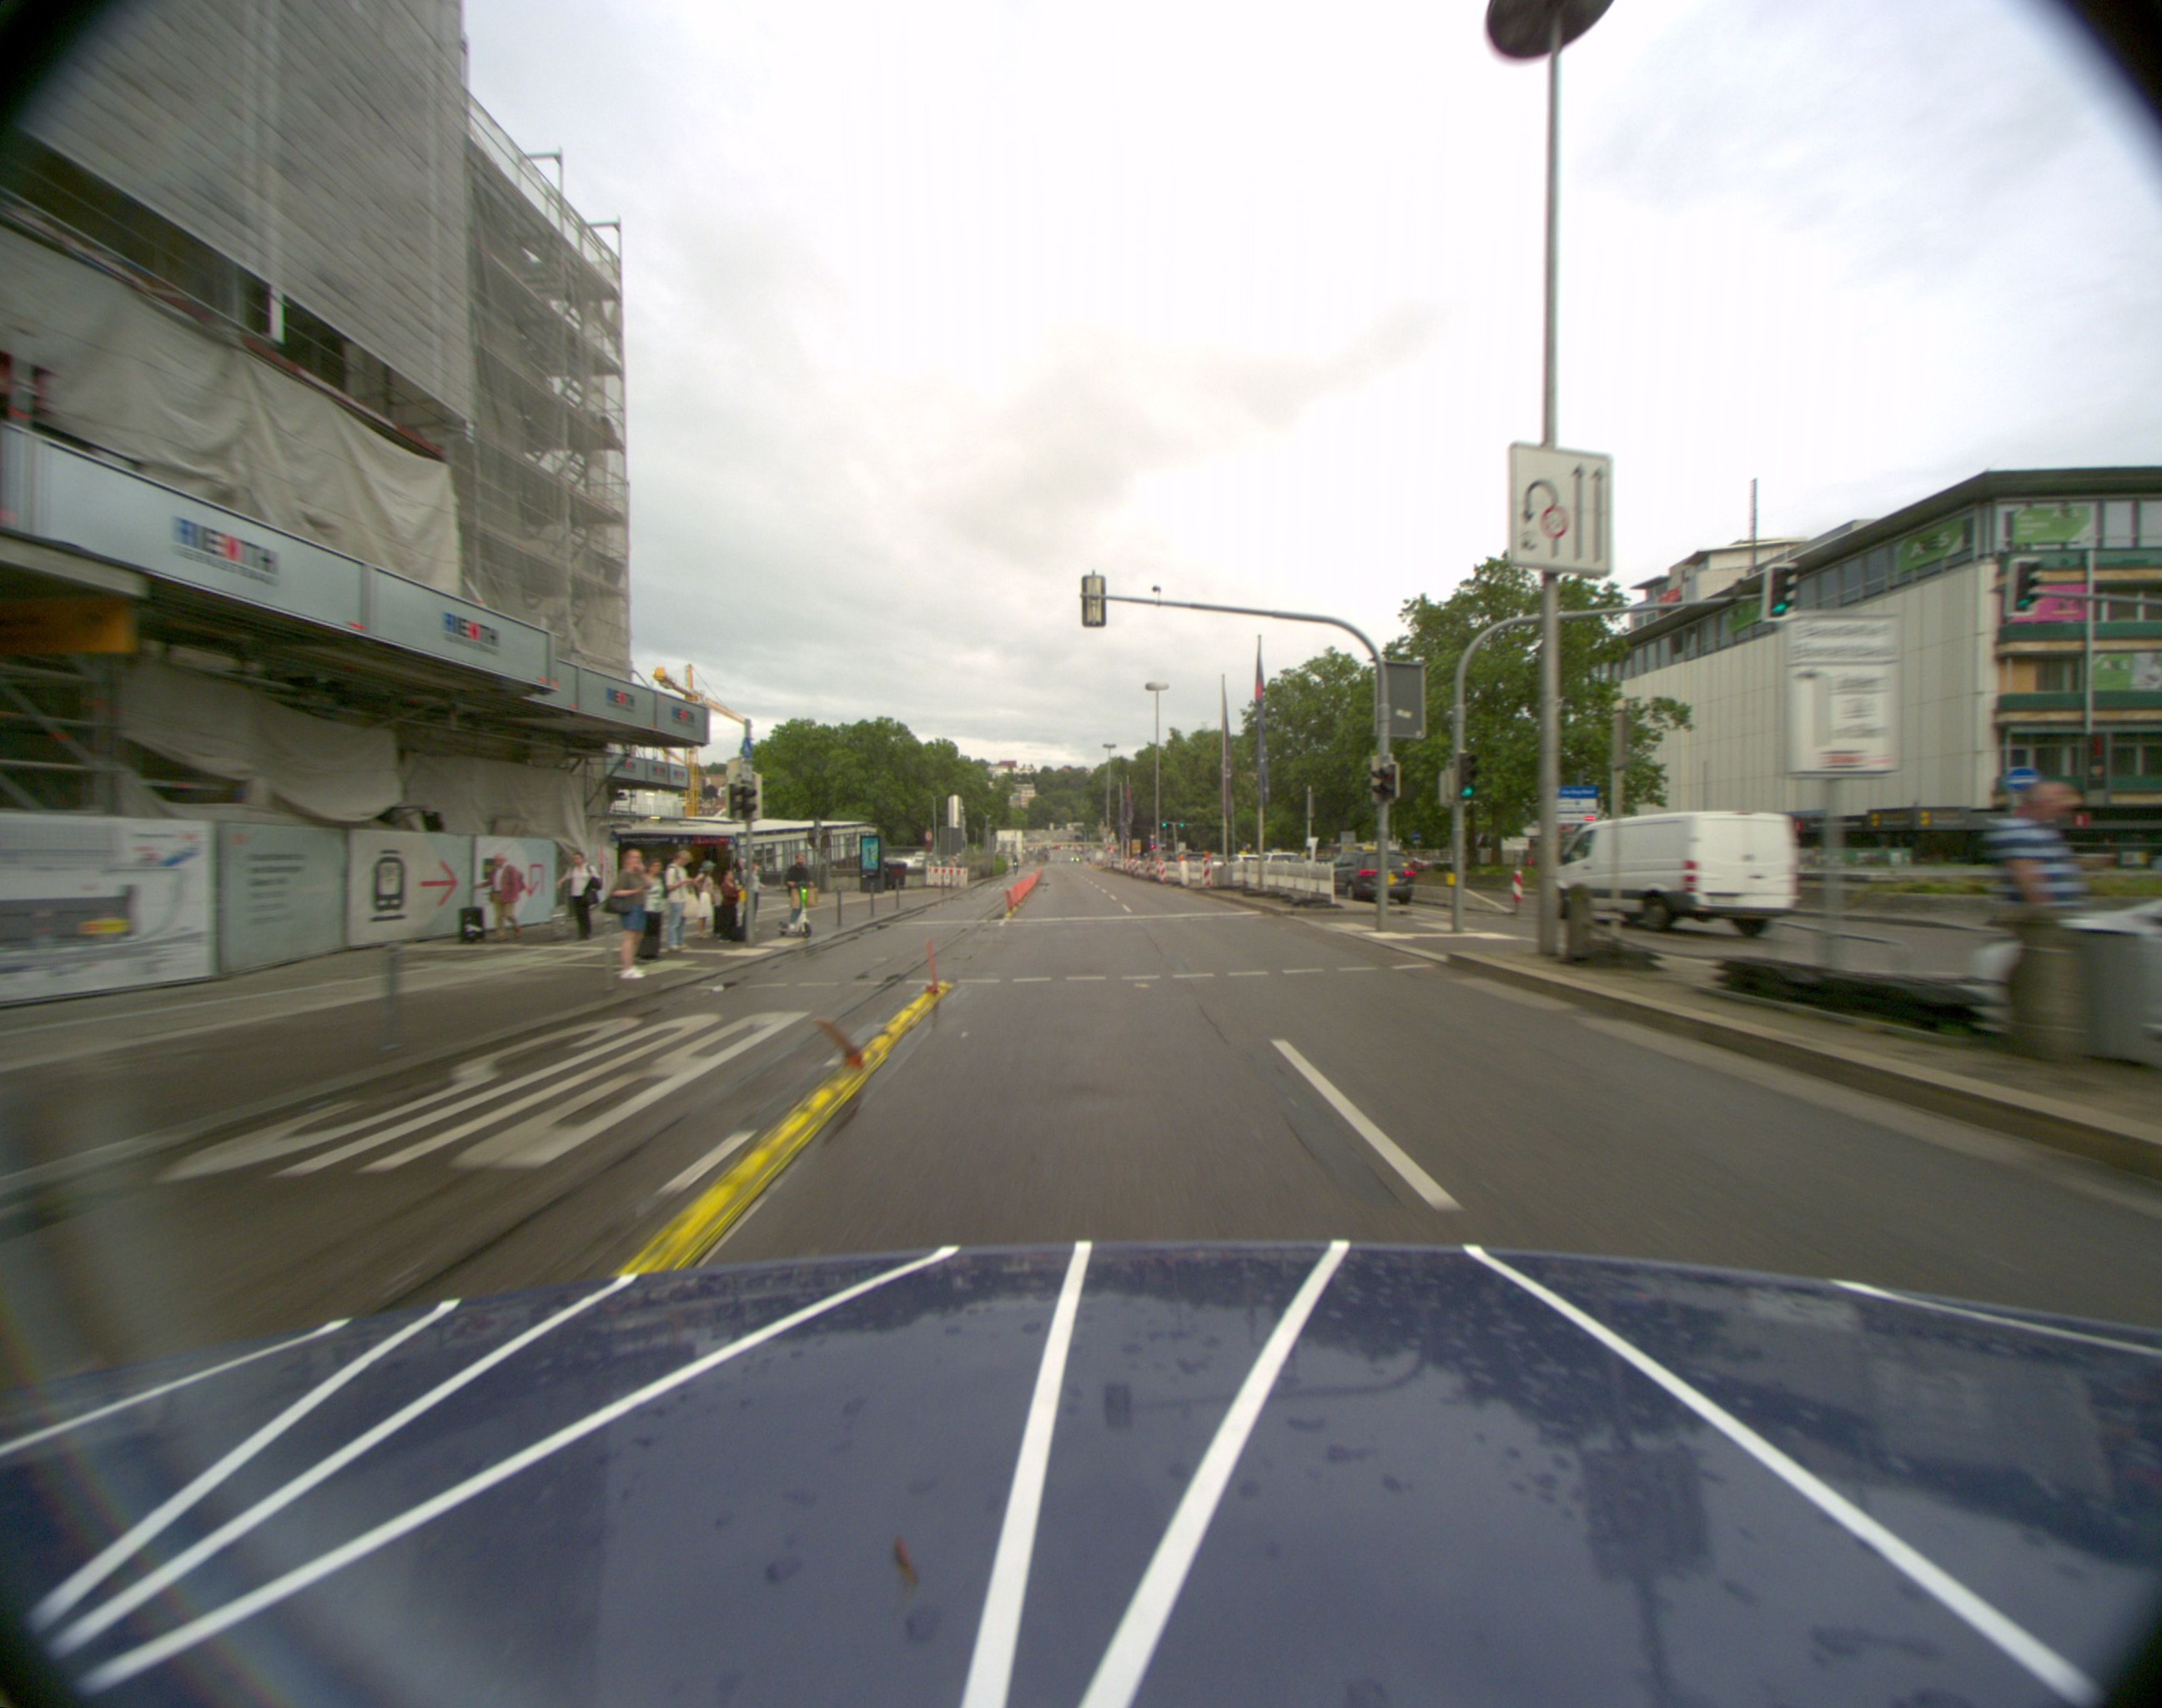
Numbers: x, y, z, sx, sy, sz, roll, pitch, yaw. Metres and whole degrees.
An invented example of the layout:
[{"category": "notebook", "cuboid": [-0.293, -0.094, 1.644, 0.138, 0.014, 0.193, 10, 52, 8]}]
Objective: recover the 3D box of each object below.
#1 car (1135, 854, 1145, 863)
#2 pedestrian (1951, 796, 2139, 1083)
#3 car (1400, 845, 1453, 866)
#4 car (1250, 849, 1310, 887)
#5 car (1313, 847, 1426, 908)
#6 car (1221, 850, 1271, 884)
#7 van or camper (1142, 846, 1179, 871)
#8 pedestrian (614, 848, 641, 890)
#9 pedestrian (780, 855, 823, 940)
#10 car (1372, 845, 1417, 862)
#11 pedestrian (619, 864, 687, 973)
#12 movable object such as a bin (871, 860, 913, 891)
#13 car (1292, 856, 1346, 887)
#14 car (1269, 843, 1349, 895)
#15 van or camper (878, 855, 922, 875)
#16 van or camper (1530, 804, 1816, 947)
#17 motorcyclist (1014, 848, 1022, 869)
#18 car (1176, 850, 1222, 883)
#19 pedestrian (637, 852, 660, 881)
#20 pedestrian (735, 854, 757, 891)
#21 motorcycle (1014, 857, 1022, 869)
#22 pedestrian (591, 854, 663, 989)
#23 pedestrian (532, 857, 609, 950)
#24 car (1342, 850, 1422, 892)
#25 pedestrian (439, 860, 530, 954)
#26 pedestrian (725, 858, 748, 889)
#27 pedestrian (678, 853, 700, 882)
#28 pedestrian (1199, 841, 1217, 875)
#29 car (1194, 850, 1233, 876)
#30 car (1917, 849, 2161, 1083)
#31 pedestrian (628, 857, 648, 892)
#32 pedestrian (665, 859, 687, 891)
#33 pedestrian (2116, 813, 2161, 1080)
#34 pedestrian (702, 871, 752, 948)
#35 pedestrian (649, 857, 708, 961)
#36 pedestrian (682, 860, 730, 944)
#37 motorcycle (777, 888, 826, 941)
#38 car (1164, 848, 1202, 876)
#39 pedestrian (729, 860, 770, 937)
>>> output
[{"category": "car", "cuboid": [10.441, 0.802, 134.493, 1.682, 1.533, 3.175, 0, -1, 4]}, {"category": "pedestrian", "cuboid": [6.439, 0.527, 5.121, 0.558, 1.765, 0.754, 3, 1, 37]}, {"category": "car", "cuboid": [29.844, 0.145, 65.648, 3.734, 1.534, 1.855, -3, 1, 40]}, {"category": "car", "cuboid": [9.429, 0.648, 36.403, 1.788, 1.712, 4.483, 0, -1, 1]}, {"category": "car", "cuboid": [9.044, 0.695, 24.230, 1.908, 1.689, 4.500, -2, 0, 1]}, {"category": "car", "cuboid": [9.551, 0.742, 44.402, 1.919, 1.840, 4.566, 0, 0, 0]}, {"category": "van or camper", "cuboid": [6.113, 0.313, 59.026, 1.951, 1.809, 5.390, 2, 0, -4]}, {"category": "pedestrian", "cuboid": [-22.064, 0.709, 36.997, 0.765, 2.002, 0.933, 0, 1, 0]}, {"category": "pedestrian", "cuboid": [-5.860, 0.885, 15.921, 0.582, 1.730, 0.820, -1, 1, -39]}, {"category": "car", "cuboid": [39.316, -0.008, 95.320, 4.827, 2.002, 2.037, -1, 0, 8]}, {"category": "pedestrian", "cuboid": [-6.709, 0.992, 11.938, 0.559, 1.631, 0.752, 2, 1, 5]}, {"category": "movable object such as a bin", "cuboid": [-9.242, 1.025, 37.230, 1.299, 1.483, 1.537, 0, 1, 32]}, {"category": "car", "cuboid": [13.594, 0.984, 43.582, 1.838, 1.636, 3.804, -2, 0, 0]}, {"category": "car", "cuboid": [9.161, 0.586, 30.924, 1.908, 1.887, 4.523, -2, 0, 1]}, {"category": "van or camper", "cuboid": [-21.906, 1.324, 91.817, 2.392, 2.387, 6.046, 1, -1, -43]}, {"category": "van or camper", "cuboid": [12.220, 0.384, 16.343, 1.998, 2.499, 5.371, 2, 0, 2]}, {"category": "motorcyclist", "cuboid": [-6.105, 0.463, 73.310, 0.726, 2.024, 0.587, 0, -1, -3]}, {"category": "car", "cuboid": [6.698, 0.709, 43.544, 1.998, 1.806, 4.811, 0, -1, 1]}, {"category": "pedestrian", "cuboid": [-26.662, 0.781, 46.823, 0.951, 1.783, 0.770, 0, 0, 0]}, {"category": "pedestrian", "cuboid": [-18.766, 1.043, 42.595, 0.806, 2.002, 0.765, -2, 1, -4]}, {"category": "motorcycle", "cuboid": [-6.105, 0.872, 73.340, 0.730, 1.221, 2.160, 0, -1, -3]}, {"category": "pedestrian", "cuboid": [-6.162, 0.891, 10.348, 0.560, 1.749, 0.751, 2, 1, -10]}, {"category": "pedestrian", "cuboid": [-9.655, 0.905, 14.413, 0.737, 1.668, 0.957, 2, 0, 3]}, {"category": "car", "cuboid": [12.819, 0.693, 32.632, 1.818, 1.601, 4.044, 2, 0, 1]}, {"category": "pedestrian", "cuboid": [-11.000, 0.947, 14.044, 0.734, 1.672, 1.110, 0, 0, 6]}, {"category": "pedestrian", "cuboid": [-18.807, 1.056, 41.476, 0.857, 1.584, 0.709, -2, 1, -4]}, {"category": "pedestrian", "cuboid": [-24.496, 0.839, 47.488, 0.951, 1.783, 0.770, 0, 1, 0]}, {"category": "pedestrian", "cuboid": [7.541, 0.238, 45.299, 0.878, 2.002, 0.821, -1, 1, -3]}, {"category": "car", "cuboid": [9.327, 0.623, 53.727, 1.895, 1.692, 4.422, -2, 0, 0]}, {"category": "car", "cuboid": [8.396, 0.758, 4.376, 2.019, 1.611, 4.843, 0, 0, 4]}, {"category": "pedestrian", "cuboid": [-23.842, 1.096, 40.912, 0.863, 1.865, 0.640, 0, 1, -36]}, {"category": "pedestrian", "cuboid": [-21.254, 1.085, 39.910, 0.916, 1.636, 0.700, 0, 1, -36]}, {"category": "pedestrian", "cuboid": [7.178, 0.578, 4.714, 0.652, 1.701, 0.593, -2, 0, 2]}, {"category": "pedestrian", "cuboid": [-6.916, 1.073, 14.867, 0.559, 1.441, 0.711, 2, 1, 5]}, {"category": "pedestrian", "cuboid": [-7.003, 0.936, 13.252, 0.559, 1.741, 0.711, 2, 1, 5]}, {"category": "pedestrian", "cuboid": [-7.545, 0.953, 15.305, 0.565, 1.641, 0.615, 2, 1, 8]}, {"category": "motorcycle", "cuboid": [-5.866, 1.240, 15.936, 0.587, 1.015, 1.236, -1, 0, -39]}, {"category": "car", "cuboid": [6.819, 0.555, 51.224, 1.998, 1.760, 4.811, 0, -1, 1]}, {"category": "pedestrian", "cuboid": [-7.312, 0.971, 16.776, 0.559, 1.641, 0.615, 2, 1, 5]}]
